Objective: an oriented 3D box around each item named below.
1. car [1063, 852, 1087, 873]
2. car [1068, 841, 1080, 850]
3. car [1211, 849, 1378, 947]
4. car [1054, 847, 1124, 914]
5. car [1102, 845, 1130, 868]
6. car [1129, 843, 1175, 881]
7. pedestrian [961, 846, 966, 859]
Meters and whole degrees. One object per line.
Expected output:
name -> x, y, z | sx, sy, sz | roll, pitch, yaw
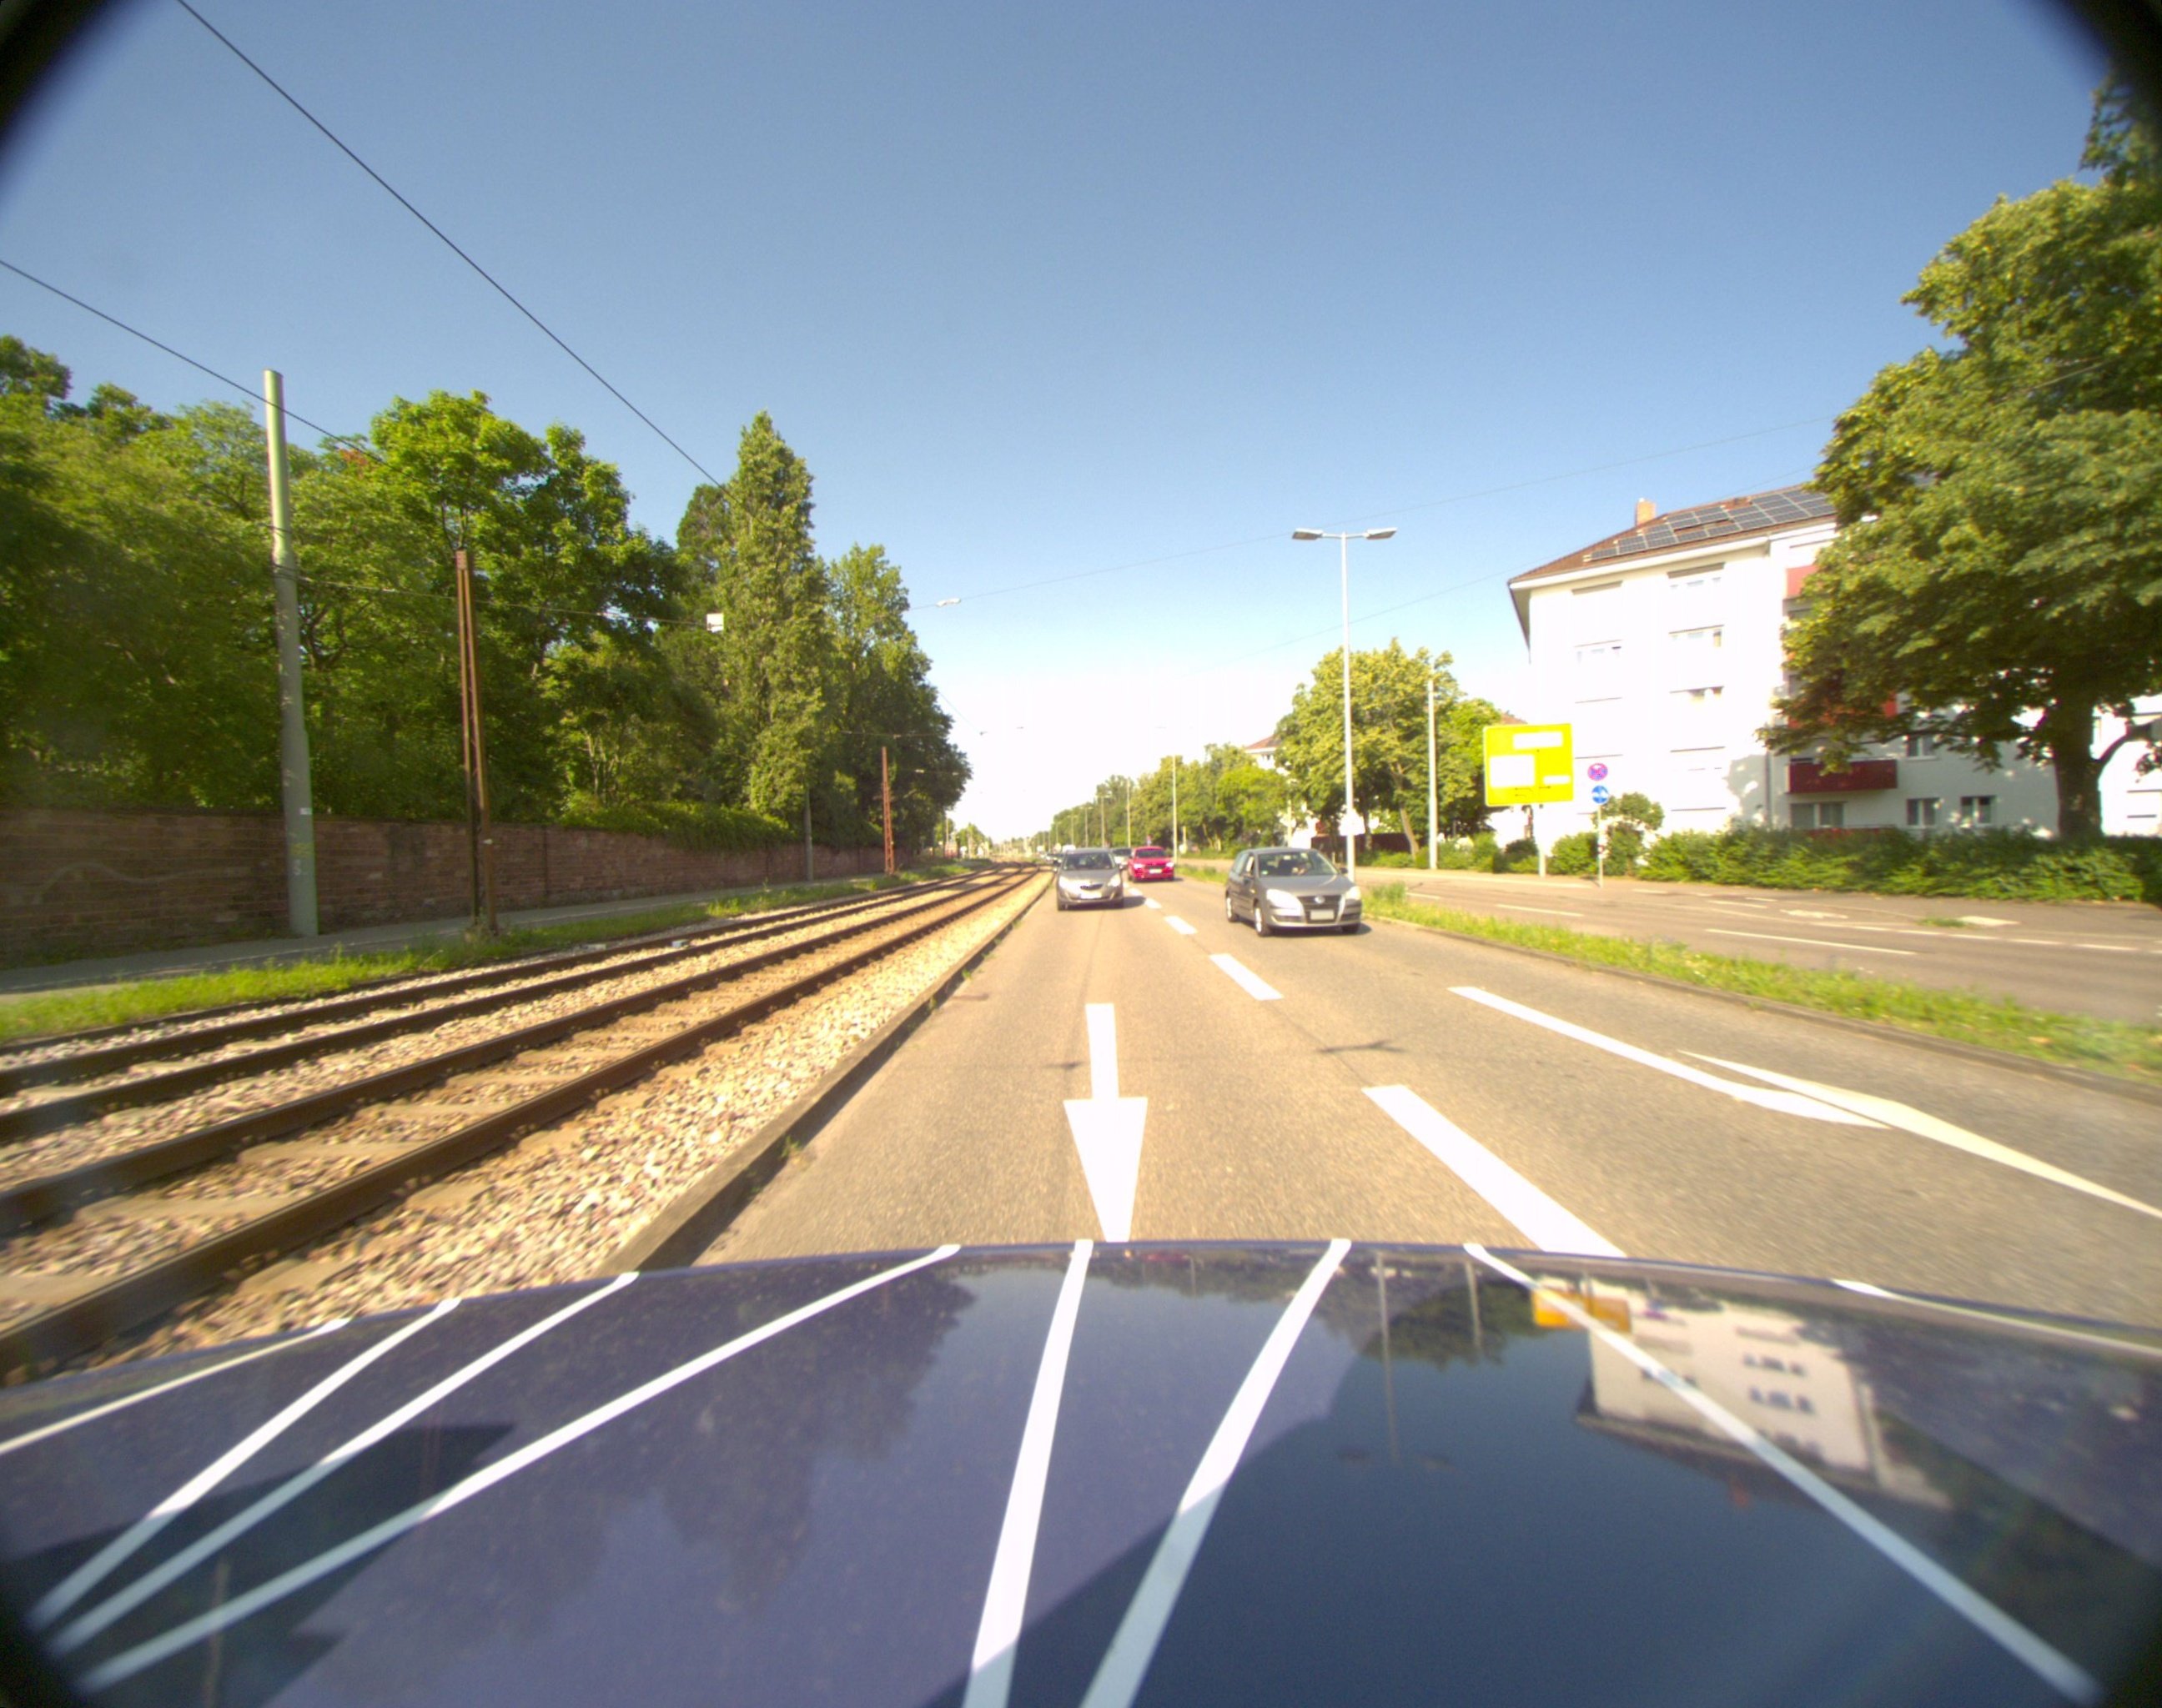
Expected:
car -> -0.494, 0.640, 60.064 | 1.710, 1.513, 3.832 | -3, 1, -2
car -> -1.302, -1.532, 136.892 | 1.711, 1.513, 3.831 | -3, 1, -5
car -> 3.613, 0.664, 13.583 | 1.693, 1.420, 3.831 | -3, 1, -3
car -> 0.220, 0.631, 20.648 | 1.650, 1.581, 3.832 | -2, 1, 1
car -> 2.554, 0.153, 55.965 | 1.710, 1.513, 3.832 | -3, 1, -1
car -> 3.189, 0.330, 34.851 | 1.692, 1.573, 3.832 | -3, 1, 0
pedestrian -> -16.689, -0.218, 107.777 | 0.501, 1.706, 0.885 | -1, 1, 2
